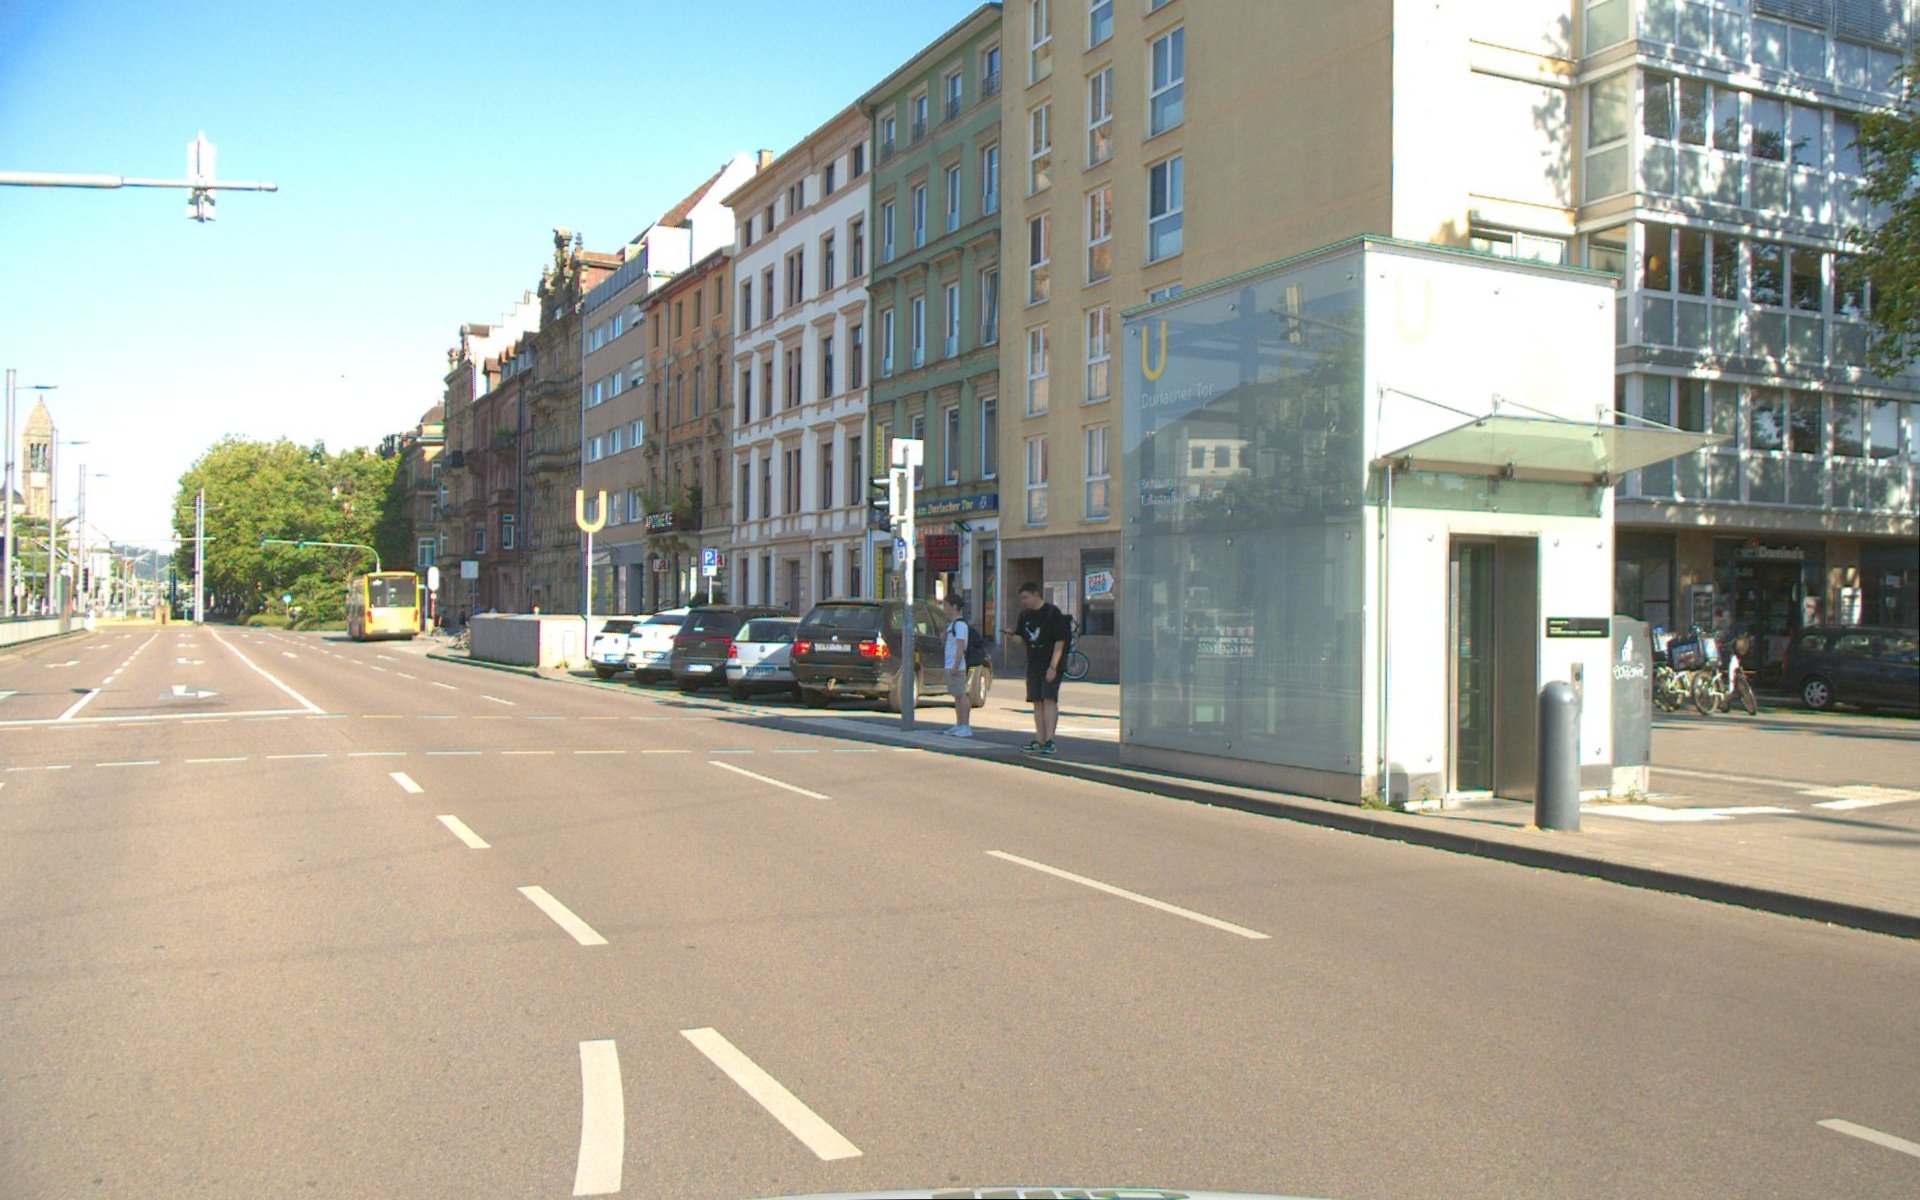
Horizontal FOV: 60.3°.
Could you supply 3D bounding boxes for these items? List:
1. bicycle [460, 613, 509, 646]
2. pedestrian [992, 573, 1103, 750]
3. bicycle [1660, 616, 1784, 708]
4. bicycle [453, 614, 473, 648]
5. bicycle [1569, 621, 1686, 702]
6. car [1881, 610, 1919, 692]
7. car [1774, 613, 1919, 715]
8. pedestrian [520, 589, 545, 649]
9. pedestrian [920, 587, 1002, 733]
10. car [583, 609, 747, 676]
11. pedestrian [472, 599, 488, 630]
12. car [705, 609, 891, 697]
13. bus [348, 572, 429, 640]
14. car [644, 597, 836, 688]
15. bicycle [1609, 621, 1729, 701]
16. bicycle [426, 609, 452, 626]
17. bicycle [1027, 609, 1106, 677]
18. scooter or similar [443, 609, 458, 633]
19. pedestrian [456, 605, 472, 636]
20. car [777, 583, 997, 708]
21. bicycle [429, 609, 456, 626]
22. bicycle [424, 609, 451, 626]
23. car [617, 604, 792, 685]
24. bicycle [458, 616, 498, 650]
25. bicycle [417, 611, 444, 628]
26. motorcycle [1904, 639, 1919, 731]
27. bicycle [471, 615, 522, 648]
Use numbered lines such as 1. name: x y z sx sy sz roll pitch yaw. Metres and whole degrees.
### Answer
1. bicycle: -18.248 1.136 63.499 1.743 1.208 0.466 1 0 -26
2. pedestrian: 0.899 0.610 16.951 0.852 1.758 0.793 0 -1 33
3. bicycle: 12.015 0.948 26.058 1.972 1.369 0.807 -1 0 -32
4. bicycle: -18.375 1.140 61.142 0.462 1.167 1.756 1 0 -25
5. bicycle: 11.245 1.013 27.847 1.972 1.270 0.807 -1 0 -32
6. car: 18.757 0.999 29.285 1.827 1.444 3.970 -1 3 -24
7. car: 16.275 1.101 28.028 1.830 1.508 4.189 -1 3 -28
8. pedestrian: -15.010 0.655 58.057 0.741 2.048 0.692 0 2 -25
9. pedestrian: 0.011 0.722 20.367 0.692 1.758 0.742 1 -1 -42
10. car: -6.941 0.980 39.325 1.916 1.489 4.111 0 -1 23
11. pedestrian: -30.987 0.913 106.698 0.812 1.964 1.127 0 -1 -26
12. car: -2.817 0.955 29.646 1.746 1.424 3.893 1 -2 20
13. bus: -29.498 0.283 85.002 2.681 3.237 12.439 -1 0 -25
14. car: -4.232 0.821 32.564 1.914 1.626 4.251 1 -1 21
15. bicycle: 11.554 0.978 26.934 1.972 1.221 0.807 -1 0 -32
16. bicycle: -39.790 1.351 126.330 1.870 1.260 0.484 -1 -1 -38
17. bicycle: 2.392 0.945 37.493 0.917 1.380 2.215 0 3 -22
18. scooter or similar: -27.503 1.155 89.249 0.427 1.271 1.279 -1 -1 -35
19. pedestrian: -31.987 1.324 106.699 0.812 1.964 1.127 0 -1 -26
20. car: -1.085 0.726 27.041 1.914 1.846 4.249 1 -1 23
21. bicycle: -39.216 1.294 125.336 1.870 1.260 0.484 -1 -1 -38
22. bicycle: -40.066 1.324 126.844 1.870 1.260 0.484 -1 -1 -38
23. car: -5.470 0.954 36.000 1.914 1.598 4.251 1 -1 20
24. bicycle: -17.133 1.165 58.779 1.739 1.167 0.467 1 0 42
25. bicycle: -40.844 1.475 127.590 1.870 1.260 0.484 -1 -1 -38
26. motorcycle: 11.798 0.964 18.678 0.868 1.065 1.787 -1 -1 -28
27. bicycle: -17.169 1.168 61.241 1.743 1.208 0.466 1 0 -26
